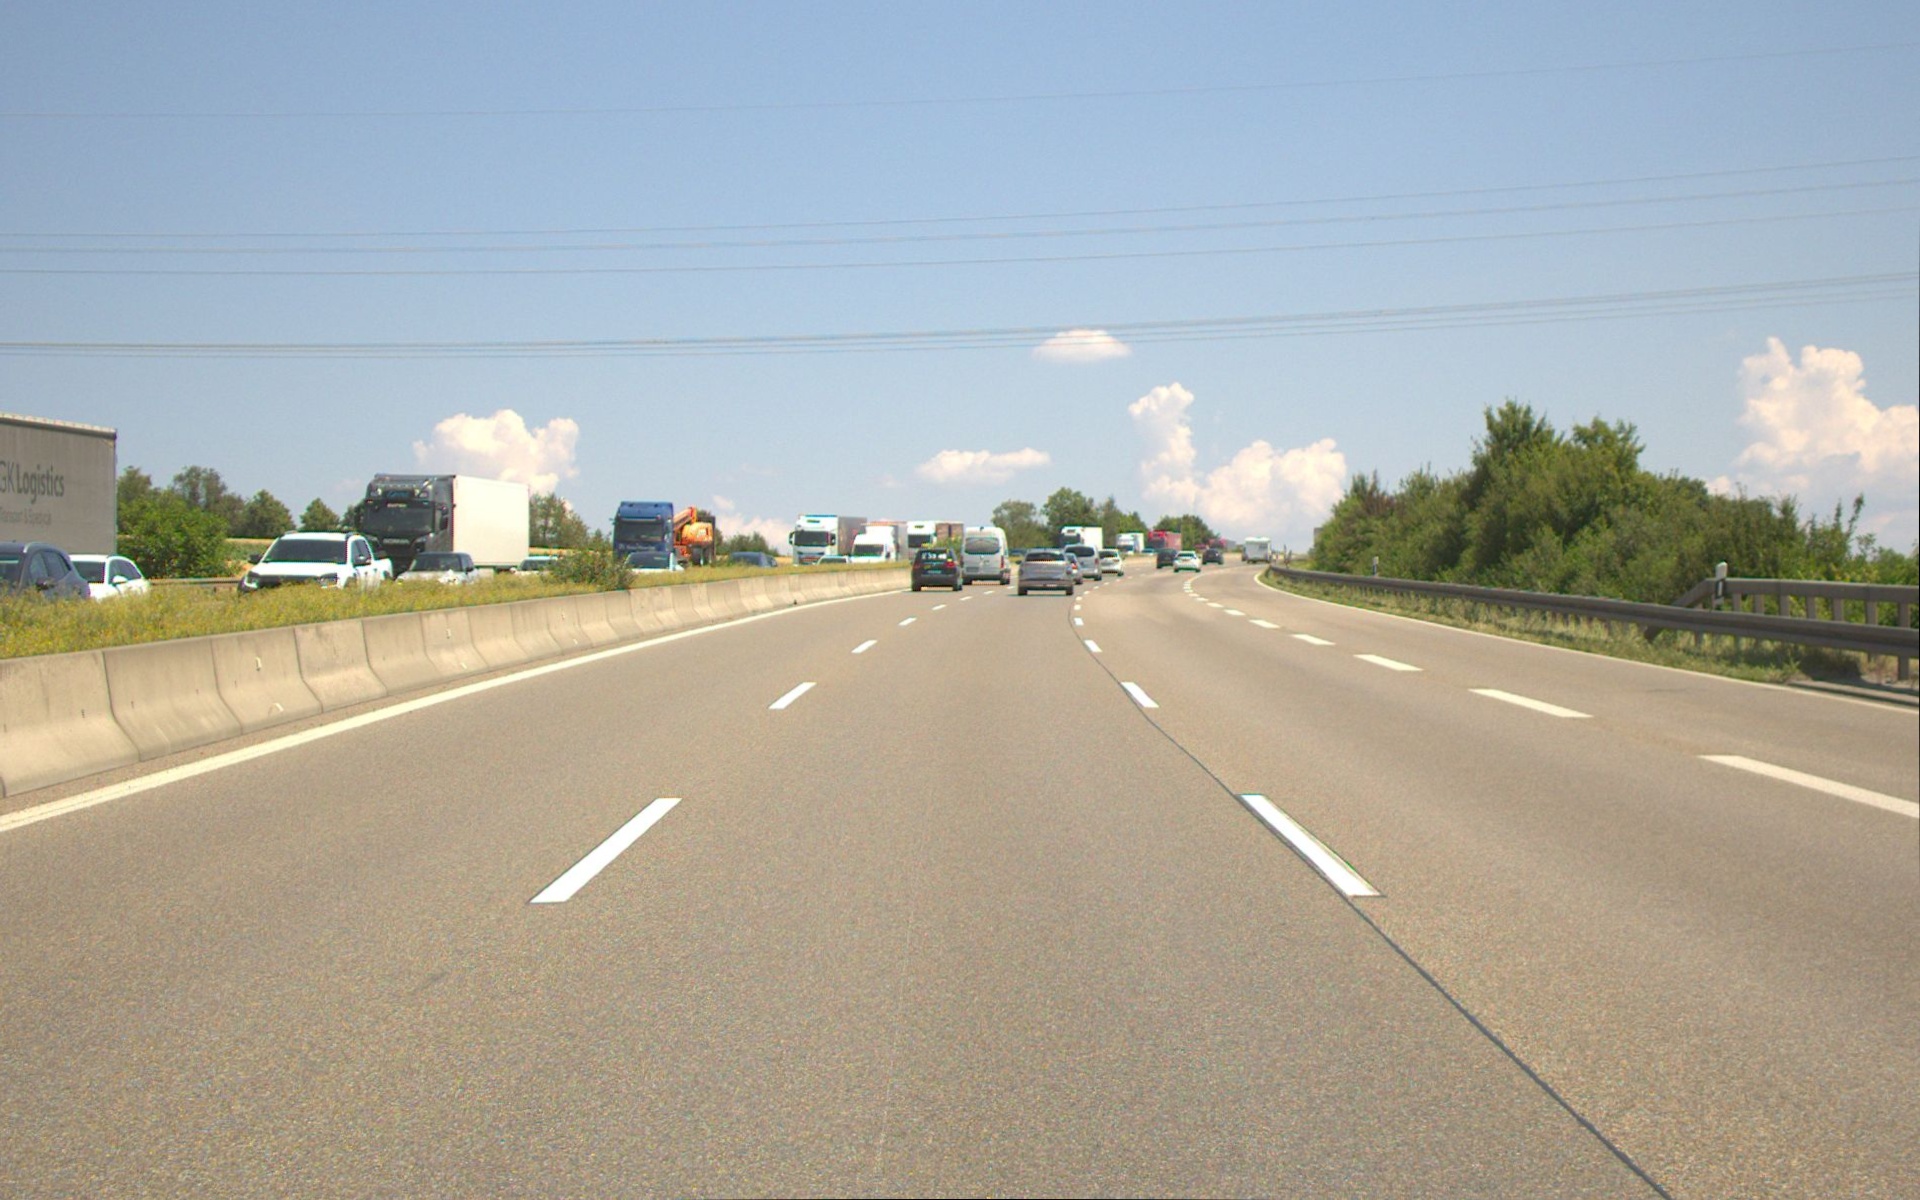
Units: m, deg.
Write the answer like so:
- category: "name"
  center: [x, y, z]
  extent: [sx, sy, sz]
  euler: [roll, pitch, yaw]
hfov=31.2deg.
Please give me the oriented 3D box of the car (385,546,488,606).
- category: "car"
  center: [-14.174, -0.633, 93.280]
  extent: [1.993, 1.582, 4.588]
  euler: [0, 0, 2]

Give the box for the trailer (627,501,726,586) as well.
- category: "trailer"
  center: [-13.691, -2.699, 167.397]
  extent: [2.839, 3.944, 13.726]
  euler: [1, 0, 4]

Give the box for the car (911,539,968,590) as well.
- category: "car"
  center: [-0.748, -1.347, 129.935]
  extent: [1.847, 1.854, 4.205]
  euler: [1, 1, 4]

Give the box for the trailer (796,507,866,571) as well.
- category: "trailer"
  center: [-8.564, -4.048, 230.193]
  extent: [2.794, 4.091, 14.004]
  euler: [1, 0, 6]

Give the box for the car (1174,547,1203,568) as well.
- category: "car"
  center: [15.828, -2.970, 238.184]
  extent: [1.902, 1.437, 3.999]
  euler: [0, 1, 5]

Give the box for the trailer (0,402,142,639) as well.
- category: "trailer"
  center: [-19.006, -1.477, 64.817]
  extent: [3.124, 4.309, 14.543]
  euler: [1, 0, 2]

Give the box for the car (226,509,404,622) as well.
- category: "car"
  center: [-11.413, -0.582, 61.209]
  extent: [1.993, 1.897, 5.676]
  euler: [1, 0, 1]

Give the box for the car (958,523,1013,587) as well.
- category: "car"
  center: [1.161, -2.017, 154.302]
  extent: [2.180, 2.616, 4.671]
  euler: [1, -2, 4]

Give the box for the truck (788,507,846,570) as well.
- category: "truck"
  center: [-9.263, -3.965, 223.628]
  extent: [2.853, 4.013, 6.513]
  euler: [1, 0, 6]

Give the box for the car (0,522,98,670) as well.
- category: "car"
  center: [-11.804, -0.093, 40.862]
  extent: [1.993, 1.667, 4.477]
  euler: [1, 1, 0]

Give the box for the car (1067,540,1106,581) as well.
- category: "car"
  center: [6.429, -1.988, 174.739]
  extent: [1.993, 1.897, 3.999]
  euler: [0, -2, 2]

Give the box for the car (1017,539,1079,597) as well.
- category: "car"
  center: [2.994, -1.057, 116.305]
  extent: [1.994, 1.744, 3.999]
  euler: [1, -2, 3]

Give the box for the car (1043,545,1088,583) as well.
- category: "car"
  center: [4.778, -1.626, 155.831]
  extent: [1.993, 1.580, 3.999]
  euler: [0, -1, 2]

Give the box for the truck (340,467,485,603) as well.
- category: "truck"
  center: [-17.510, -2.066, 110.433]
  extent: [3.226, 4.192, 7.126]
  euler: [0, 1, 2]

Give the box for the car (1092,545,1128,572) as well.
- category: "car"
  center: [9.073, -2.516, 207.334]
  extent: [1.994, 1.546, 4.000]
  euler: [2, 1, 4]

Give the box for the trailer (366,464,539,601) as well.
- category: "trailer"
  center: [-17.159, -2.238, 117.421]
  extent: [3.242, 4.372, 14.027]
  euler: [1, 1, 2]

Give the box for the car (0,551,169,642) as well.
- category: "car"
  center: [-14.865, -0.074, 58.392]
  extent: [1.843, 1.455, 4.491]
  euler: [1, 0, 0]

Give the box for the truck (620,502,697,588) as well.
- category: "truck"
  center: [-14.063, -2.574, 160.790]
  extent: [2.776, 3.924, 6.137]
  euler: [0, 1, 3]
